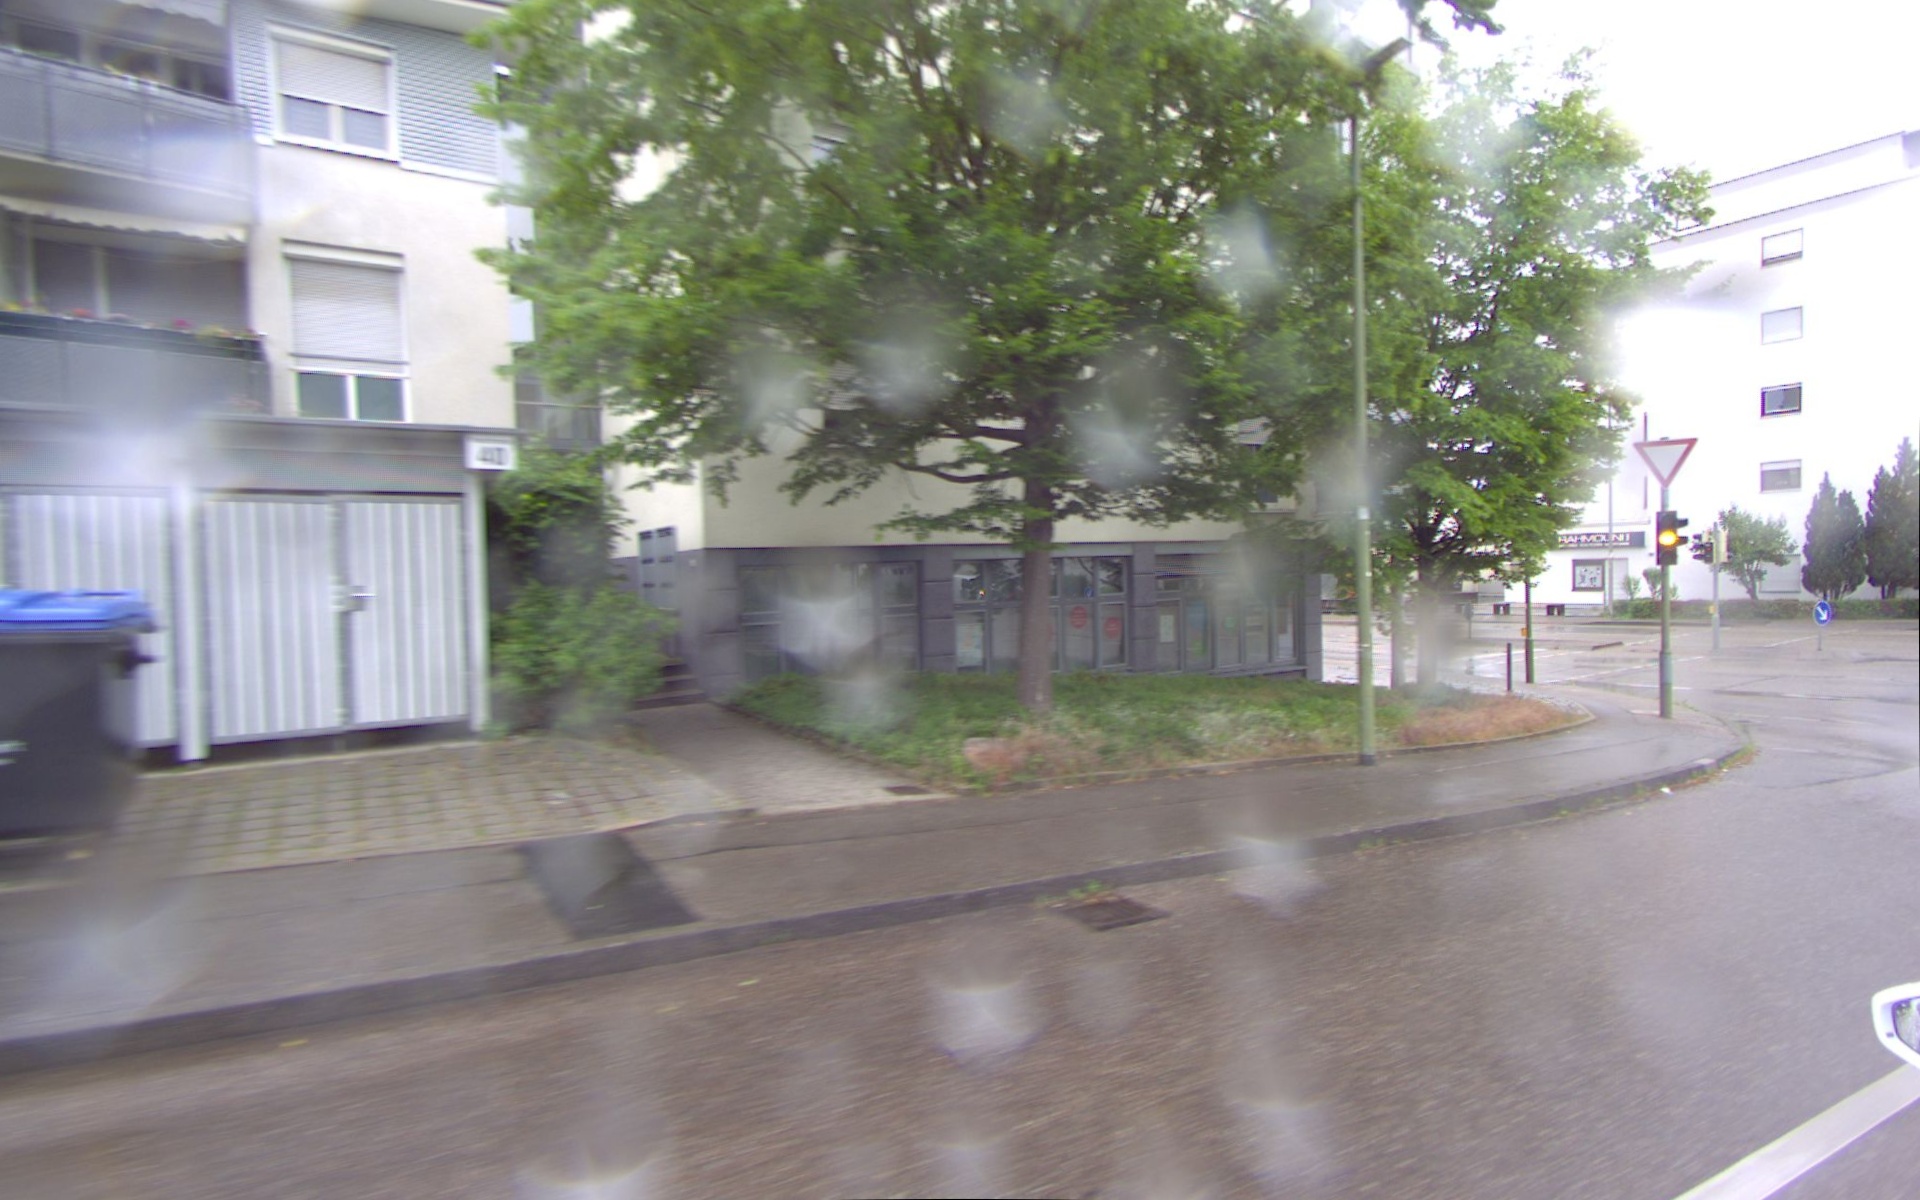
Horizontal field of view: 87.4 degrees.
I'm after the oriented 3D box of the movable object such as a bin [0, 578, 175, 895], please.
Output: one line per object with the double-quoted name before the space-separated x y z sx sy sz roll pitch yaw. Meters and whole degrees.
"movable object such as a bin" -4.628 0.592 4.756 1.304 1.365 1.065 1 2 -32
